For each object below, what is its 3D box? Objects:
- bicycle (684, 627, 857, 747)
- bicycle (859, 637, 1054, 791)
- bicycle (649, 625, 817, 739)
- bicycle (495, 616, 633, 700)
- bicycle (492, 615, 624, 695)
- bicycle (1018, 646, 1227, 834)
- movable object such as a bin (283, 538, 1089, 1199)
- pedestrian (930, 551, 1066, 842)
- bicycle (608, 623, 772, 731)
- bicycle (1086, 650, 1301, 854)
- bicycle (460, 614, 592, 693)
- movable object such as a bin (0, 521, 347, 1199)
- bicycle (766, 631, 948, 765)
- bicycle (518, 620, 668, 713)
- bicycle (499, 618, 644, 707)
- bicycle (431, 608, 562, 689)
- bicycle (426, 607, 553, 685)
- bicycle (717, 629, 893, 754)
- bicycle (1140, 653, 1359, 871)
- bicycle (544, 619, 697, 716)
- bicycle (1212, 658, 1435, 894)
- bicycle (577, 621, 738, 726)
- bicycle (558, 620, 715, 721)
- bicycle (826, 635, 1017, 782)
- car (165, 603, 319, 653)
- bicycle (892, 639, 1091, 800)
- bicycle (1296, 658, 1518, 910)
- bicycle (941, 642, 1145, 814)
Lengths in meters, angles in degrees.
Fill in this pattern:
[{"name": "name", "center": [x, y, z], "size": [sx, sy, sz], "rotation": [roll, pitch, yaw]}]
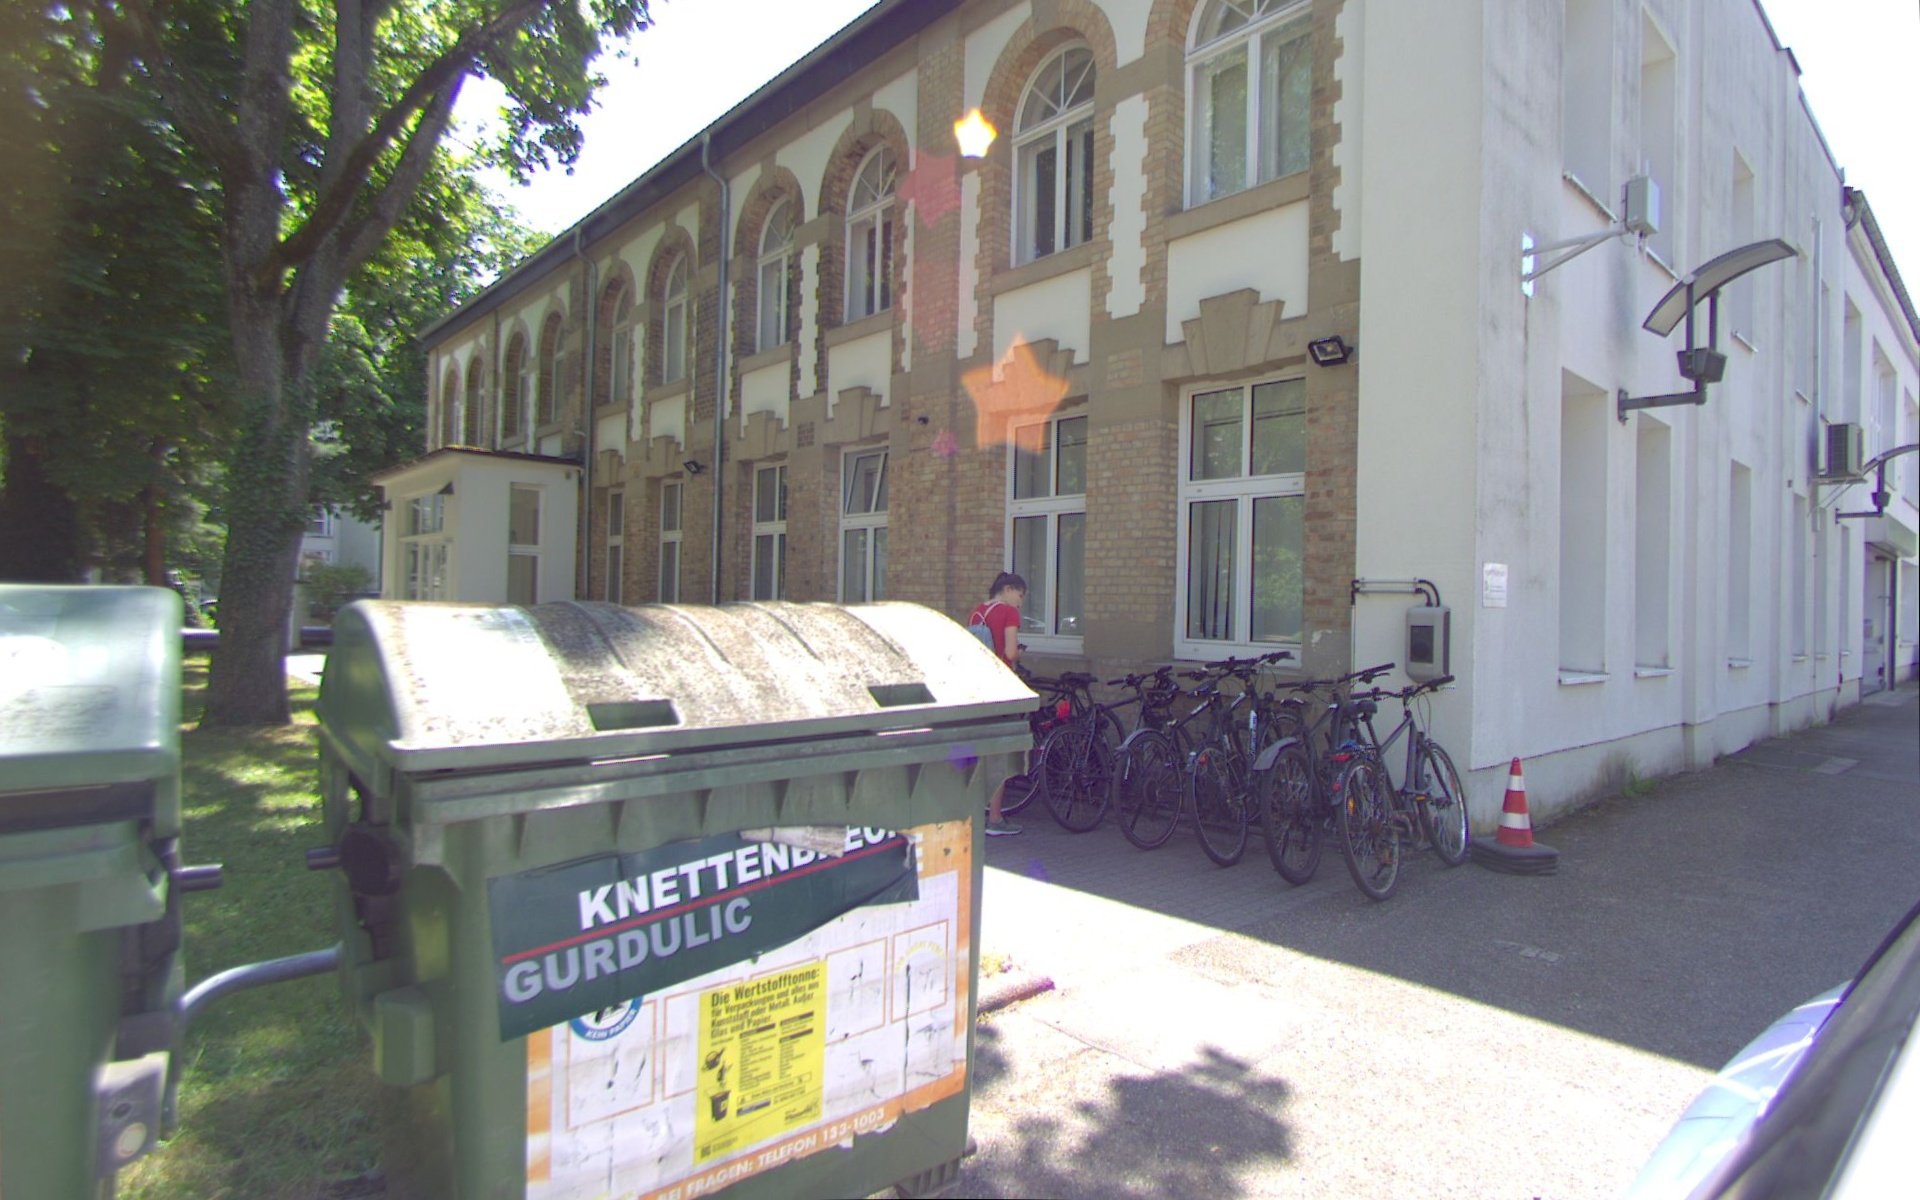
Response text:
[{"name": "bicycle", "center": [-1.917, 0.852, 10.430], "size": [1.794, 1.115, 0.405], "rotation": [1, 0, -42]}, {"name": "bicycle", "center": [0.014, 0.890, 8.421], "size": [1.794, 1.115, 0.405], "rotation": [1, 0, -42]}, {"name": "bicycle", "center": [-2.413, 0.842, 10.942], "size": [1.794, 1.115, 0.405], "rotation": [1, 0, -42]}, {"name": "bicycle", "center": [-5.634, 0.801, 14.471], "size": [1.794, 1.115, 0.405], "rotation": [1, 0, -42]}, {"name": "bicycle", "center": [-5.946, 0.793, 15.045], "size": [1.794, 1.115, 0.405], "rotation": [1, 0, -42]}, {"name": "bicycle", "center": [1.188, 0.913, 7.115], "size": [1.794, 1.115, 0.405], "rotation": [1, 0, -42]}, {"name": "movable object such as a bin", "center": [-0.582, 0.653, 2.195], "size": [1.353, 1.476, 1.077], "rotation": [1, 0, -40]}, {"name": "pedestrian", "center": [0.247, 0.588, 6.591], "size": [0.677, 1.771, 0.552], "rotation": [1, 0, -40]}, {"name": "bicycle", "center": [-3.014, 0.831, 11.429], "size": [1.794, 1.115, 0.405], "rotation": [1, 0, -42]}, {"name": "bicycle", "center": [1.582, 0.922, 6.647], "size": [1.794, 1.115, 0.405], "rotation": [1, 0, -42]}, {"name": "bicycle", "center": [-6.534, 0.784, 15.315], "size": [1.794, 1.115, 0.405], "rotation": [1, 0, -42]}, {"name": "movable object such as a bin", "center": [-1.652, 0.644, 1.264], "size": [1.353, 1.476, 1.077], "rotation": [1, 0, -40]}, {"name": "bicycle", "center": [-0.926, 0.871, 9.508], "size": [1.794, 1.115, 0.405], "rotation": [1, 0, -42]}, {"name": "bicycle", "center": [-4.701, 0.822, 13.055], "size": [1.794, 1.115, 0.405], "rotation": [1, 0, -42]}, {"name": "bicycle", "center": [-5.203, 0.812, 13.629], "size": [1.794, 1.115, 0.405], "rotation": [1, 0, -42]}, {"name": "bicycle", "center": [-7.203, 0.729, 15.793], "size": [1.795, 1.115, 0.405], "rotation": [-3, 2, -42]}, {"name": "bicycle", "center": [-7.609, 0.720, 16.423], "size": [1.795, 1.115, 0.405], "rotation": [-3, 2, -42]}, {"name": "bicycle", "center": [-1.498, 0.860, 10.037], "size": [1.794, 1.115, 0.405], "rotation": [1, 0, -42]}, {"name": "bicycle", "center": [1.851, 0.927, 6.299], "size": [1.794, 1.115, 0.405], "rotation": [1, 0, -42]}, {"name": "bicycle", "center": [-4.211, 0.807, 12.644], "size": [1.794, 1.115, 0.405], "rotation": [1, 0, -42]}, {"name": "bicycle", "center": [2.164, 0.934, 5.886], "size": [1.794, 1.115, 0.405], "rotation": [1, 0, -42]}, {"name": "bicycle", "center": [-3.508, 0.822, 11.853], "size": [1.794, 1.115, 0.405], "rotation": [1, 0, -42]}, {"name": "bicycle", "center": [-3.877, 0.814, 12.243], "size": [1.794, 1.115, 0.405], "rotation": [1, 0, -42]}, {"name": "bicycle", "center": [-0.295, 0.884, 8.750], "size": [1.794, 1.115, 0.405], "rotation": [1, 0, -42]}, {"name": "car", "center": [-21.635, 0.795, 30.628], "size": [1.634, 1.359, 3.505], "rotation": [1, 0, 21]}, {"name": "bicycle", "center": [0.296, 0.896, 8.080], "size": [1.794, 1.115, 0.405], "rotation": [1, 0, -42]}, {"name": "bicycle", "center": [2.509, 0.918, 5.565], "size": [1.794, 1.115, 0.405], "rotation": [1, 0, -42]}, {"name": "bicycle", "center": [0.670, 0.903, 7.646], "size": [1.794, 1.115, 0.405], "rotation": [1, 0, -42]}]
